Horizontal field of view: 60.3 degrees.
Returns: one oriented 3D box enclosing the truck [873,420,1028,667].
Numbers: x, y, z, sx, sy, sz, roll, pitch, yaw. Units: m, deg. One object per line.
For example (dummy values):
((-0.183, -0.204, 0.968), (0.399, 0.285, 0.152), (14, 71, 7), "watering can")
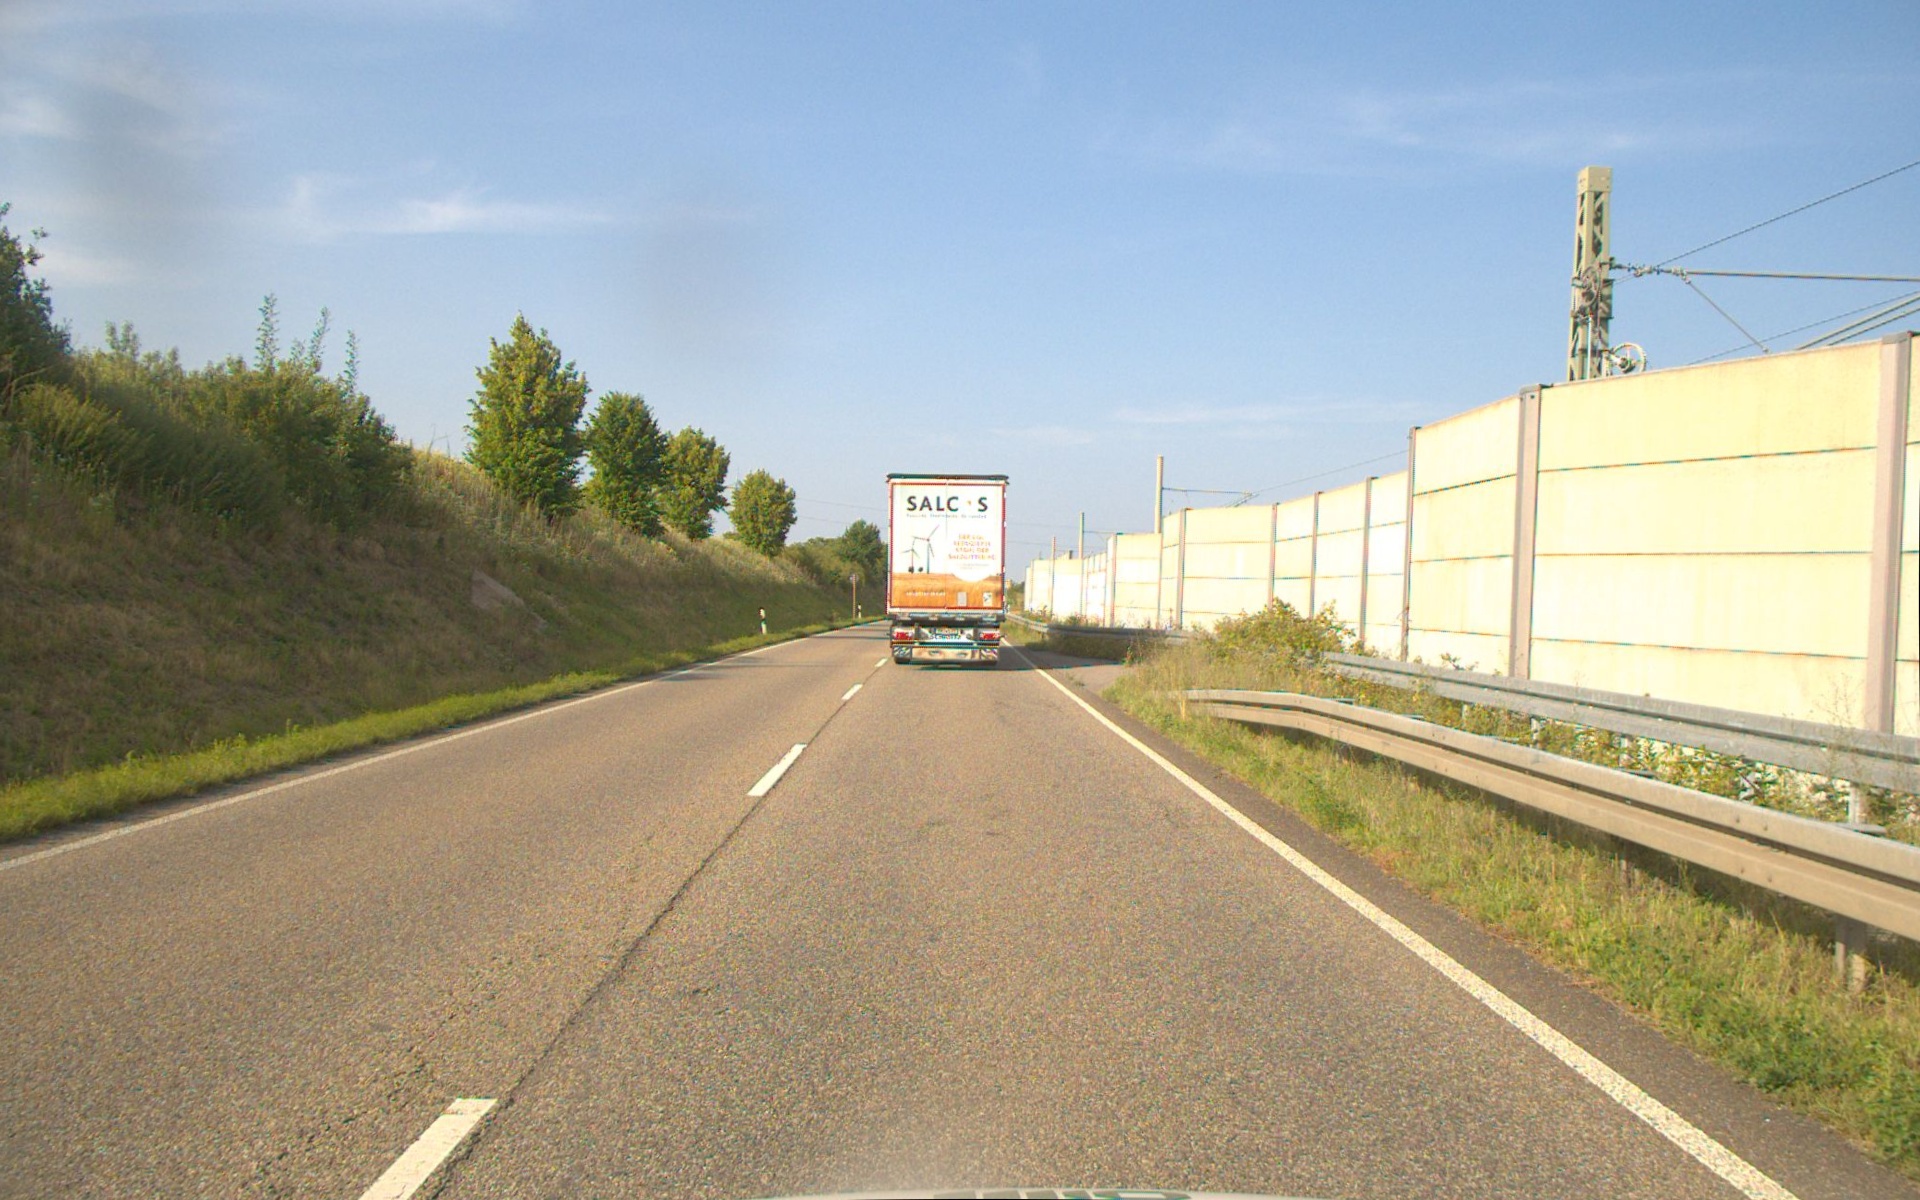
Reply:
((-0.297, -1.227, 40.698), (3.224, 5.179, 12.035), (0, 0, -1), "truck")
